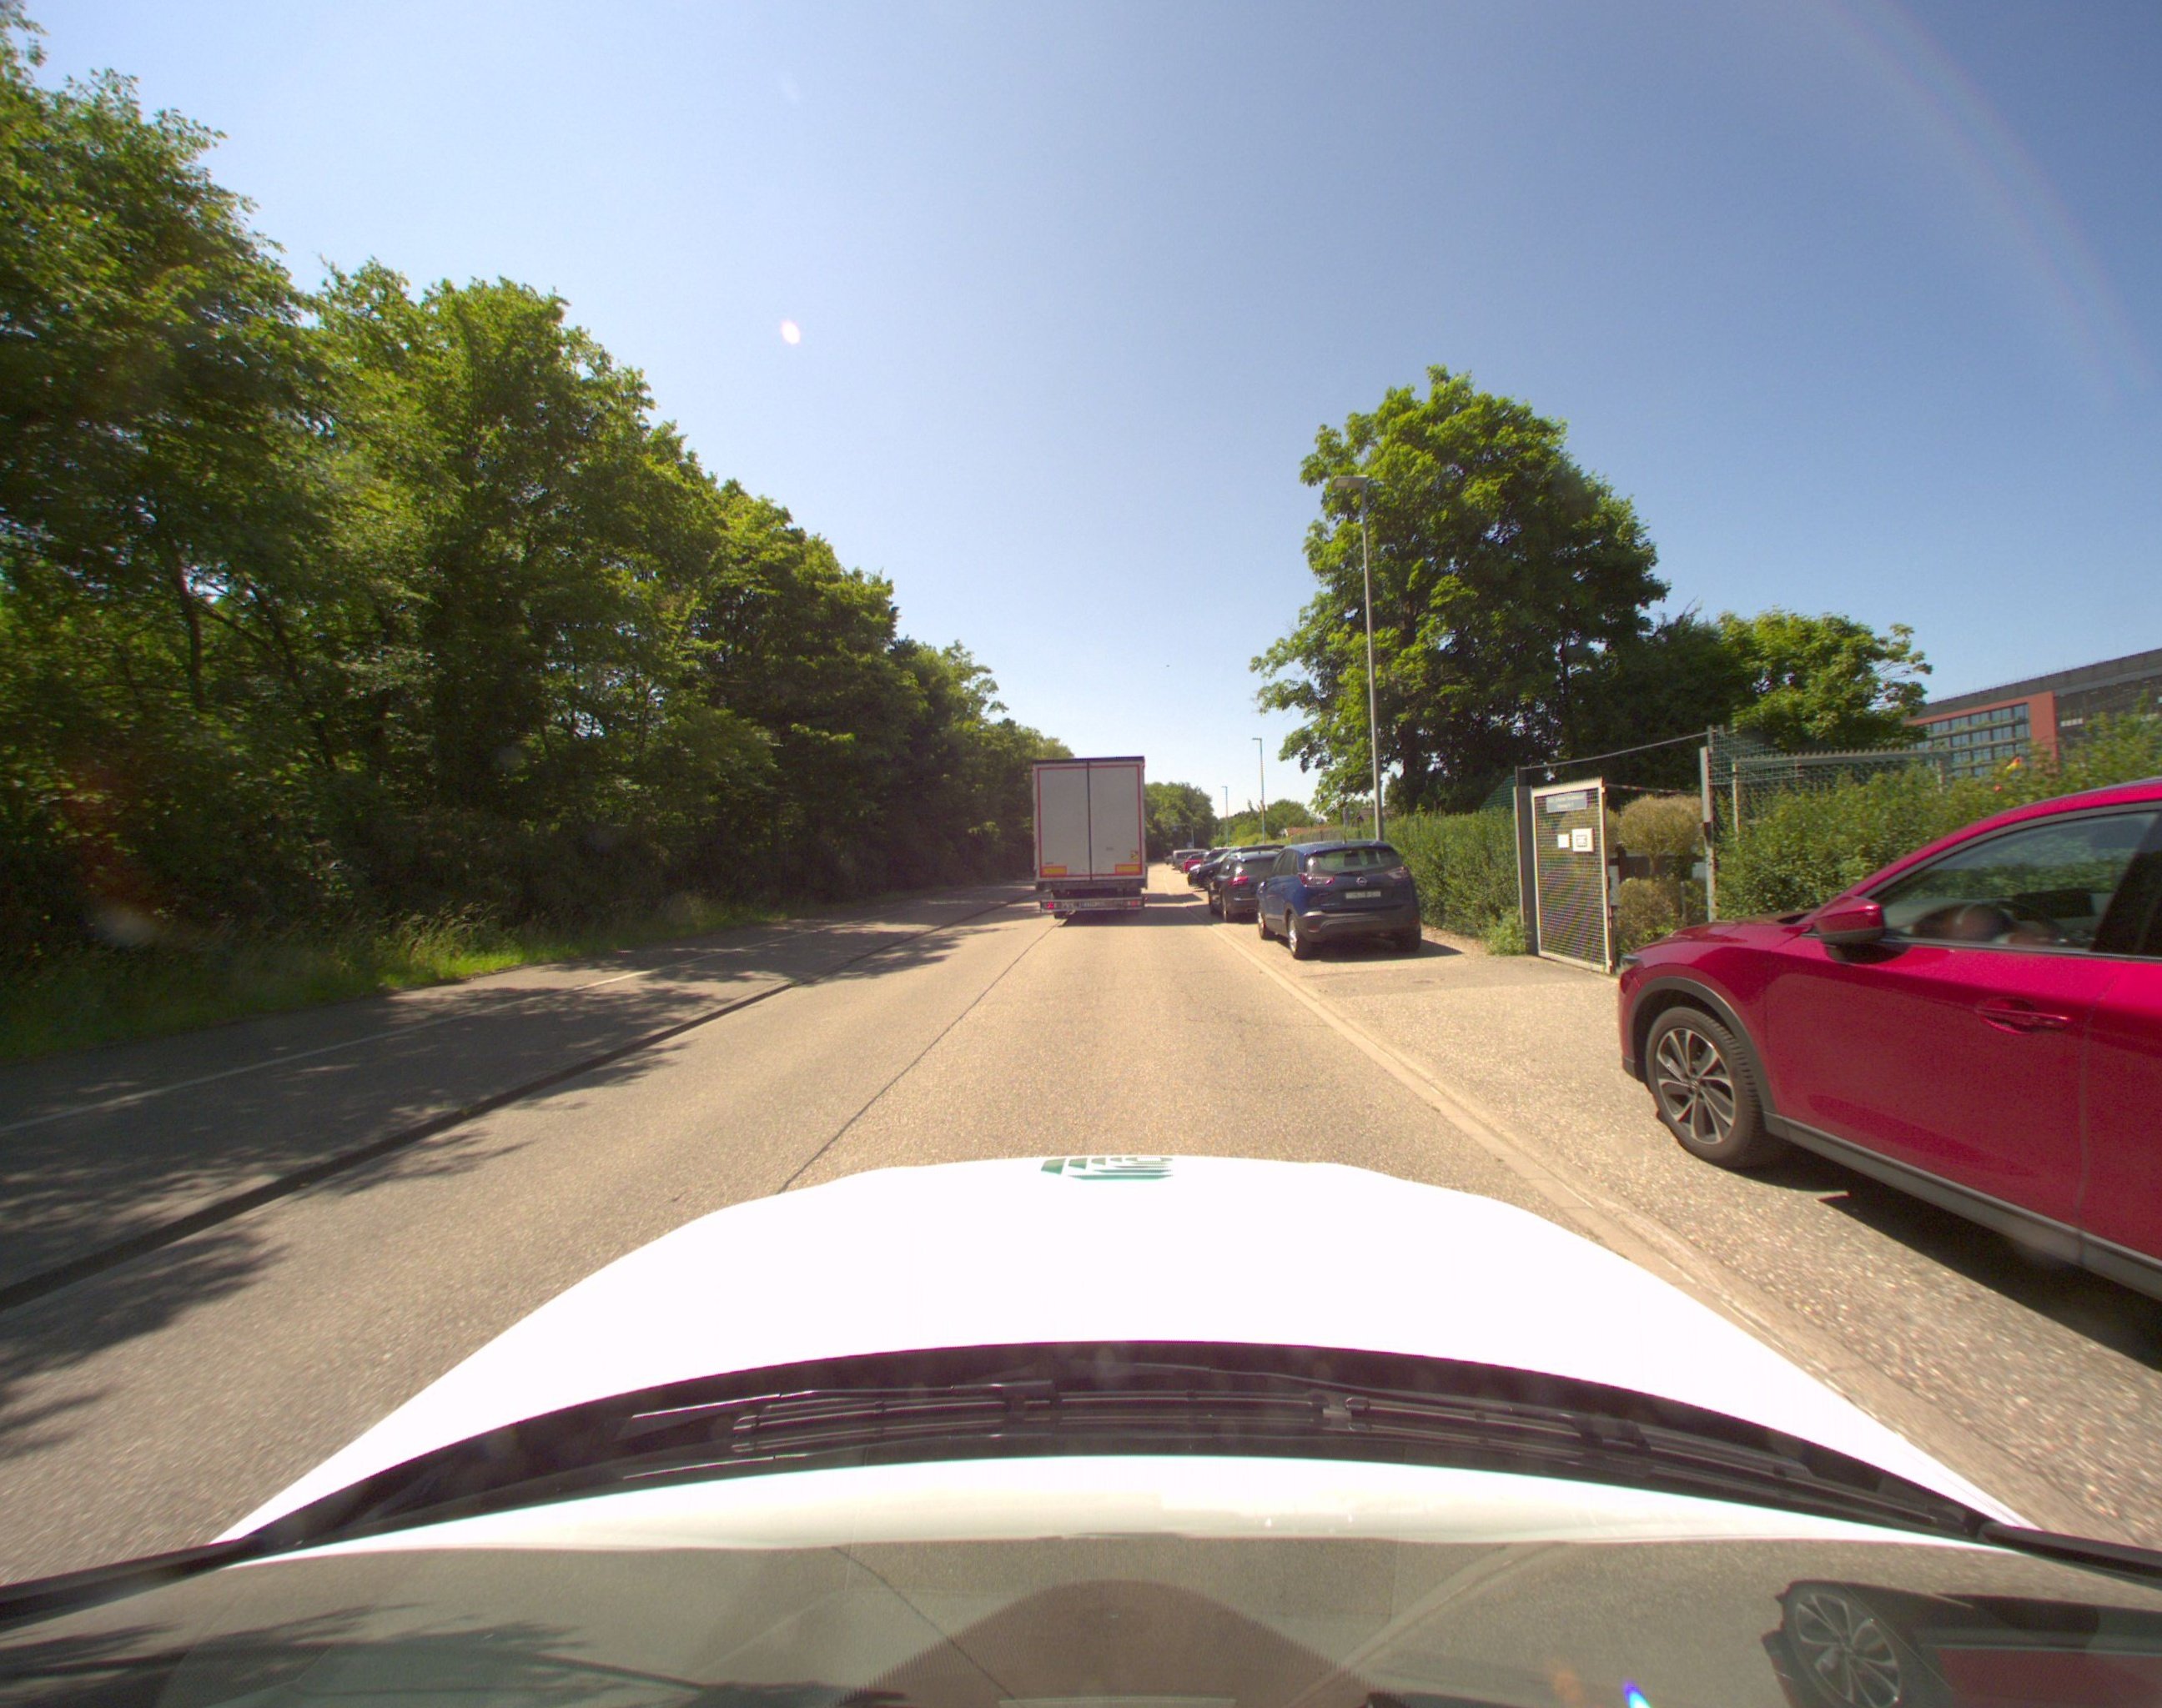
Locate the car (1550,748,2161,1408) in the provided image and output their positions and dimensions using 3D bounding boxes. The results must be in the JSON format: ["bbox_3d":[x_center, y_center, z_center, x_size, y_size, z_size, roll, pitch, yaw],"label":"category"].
[{"bbox_3d":[3.556,0.483,2.453,1.782,1.658,4.456,-6,0,3],"label":"car"}]

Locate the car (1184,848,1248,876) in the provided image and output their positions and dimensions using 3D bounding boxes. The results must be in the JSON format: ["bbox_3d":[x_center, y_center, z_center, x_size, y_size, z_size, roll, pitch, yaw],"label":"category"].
[{"bbox_3d":[8.838,0.512,53.621,3.900,1.478,1.848,-6,0,5],"label":"car"}]

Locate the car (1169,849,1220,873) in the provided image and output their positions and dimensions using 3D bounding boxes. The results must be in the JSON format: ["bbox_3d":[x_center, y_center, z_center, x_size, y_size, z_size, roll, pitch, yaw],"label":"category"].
[{"bbox_3d":[8.621,0.515,62.167,3.563,1.502,1.842,-6,0,0],"label":"car"}]

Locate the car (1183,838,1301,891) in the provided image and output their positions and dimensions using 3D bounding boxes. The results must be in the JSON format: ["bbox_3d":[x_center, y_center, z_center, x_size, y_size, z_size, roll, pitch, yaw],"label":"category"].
[{"bbox_3d":[6.662,0.435,34.066,4.452,1.704,1.915,-6,0,2],"label":"car"}]

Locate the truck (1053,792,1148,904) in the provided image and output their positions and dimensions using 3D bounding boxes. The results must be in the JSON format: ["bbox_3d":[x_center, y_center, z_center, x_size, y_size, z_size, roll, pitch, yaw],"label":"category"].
[{"bbox_3d":[0.814,-0.202,30.804,3.101,3.725,6.418,-1,0,3],"label":"truck"}]

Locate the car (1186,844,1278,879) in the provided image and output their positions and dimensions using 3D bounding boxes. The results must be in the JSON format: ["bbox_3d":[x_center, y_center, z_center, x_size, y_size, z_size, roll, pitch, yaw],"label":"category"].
[{"bbox_3d":[8.129,0.405,44.165,4.541,1.439,1.962,-6,0,1],"label":"car"}]

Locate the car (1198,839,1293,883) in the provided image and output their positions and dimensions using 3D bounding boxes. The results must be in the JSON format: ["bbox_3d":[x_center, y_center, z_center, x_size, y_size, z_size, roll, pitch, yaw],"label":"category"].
[{"bbox_3d":[7.873,0.331,39.268,4.236,1.698,1.857,-6,0,6],"label":"car"}]

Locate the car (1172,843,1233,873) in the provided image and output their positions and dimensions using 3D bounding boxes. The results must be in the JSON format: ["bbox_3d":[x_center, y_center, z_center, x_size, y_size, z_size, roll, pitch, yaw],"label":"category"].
[{"bbox_3d":[9.705,0.309,65.327,4.597,1.848,1.999,-6,0,6],"label":"car"}]

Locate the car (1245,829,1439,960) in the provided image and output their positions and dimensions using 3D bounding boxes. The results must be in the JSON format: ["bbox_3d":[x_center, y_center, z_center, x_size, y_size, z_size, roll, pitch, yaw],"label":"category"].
[{"bbox_3d":[3.786,0.511,12.609,1.782,1.603,4.133,-3,0,3],"label":"car"}]

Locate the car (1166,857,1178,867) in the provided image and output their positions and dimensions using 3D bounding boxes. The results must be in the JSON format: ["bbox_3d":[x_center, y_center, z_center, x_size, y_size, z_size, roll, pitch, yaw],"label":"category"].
[{"bbox_3d":[14.338,1.203,128.064,1.771,1.486,4.009,-2,0,8],"label":"car"}]

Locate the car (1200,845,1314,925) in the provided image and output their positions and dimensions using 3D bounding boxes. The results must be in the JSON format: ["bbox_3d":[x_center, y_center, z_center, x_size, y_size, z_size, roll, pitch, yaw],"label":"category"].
[{"bbox_3d":[3.976,0.627,19.145,1.782,1.481,4.669,-6,0,3],"label":"car"}]

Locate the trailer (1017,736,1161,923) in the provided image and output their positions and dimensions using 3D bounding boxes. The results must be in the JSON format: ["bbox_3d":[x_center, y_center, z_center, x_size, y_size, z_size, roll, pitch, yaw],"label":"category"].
[{"bbox_3d":[0.452,-0.525,23.893,3.100,4.102,11.544,-1,0,3],"label":"trailer"}]
